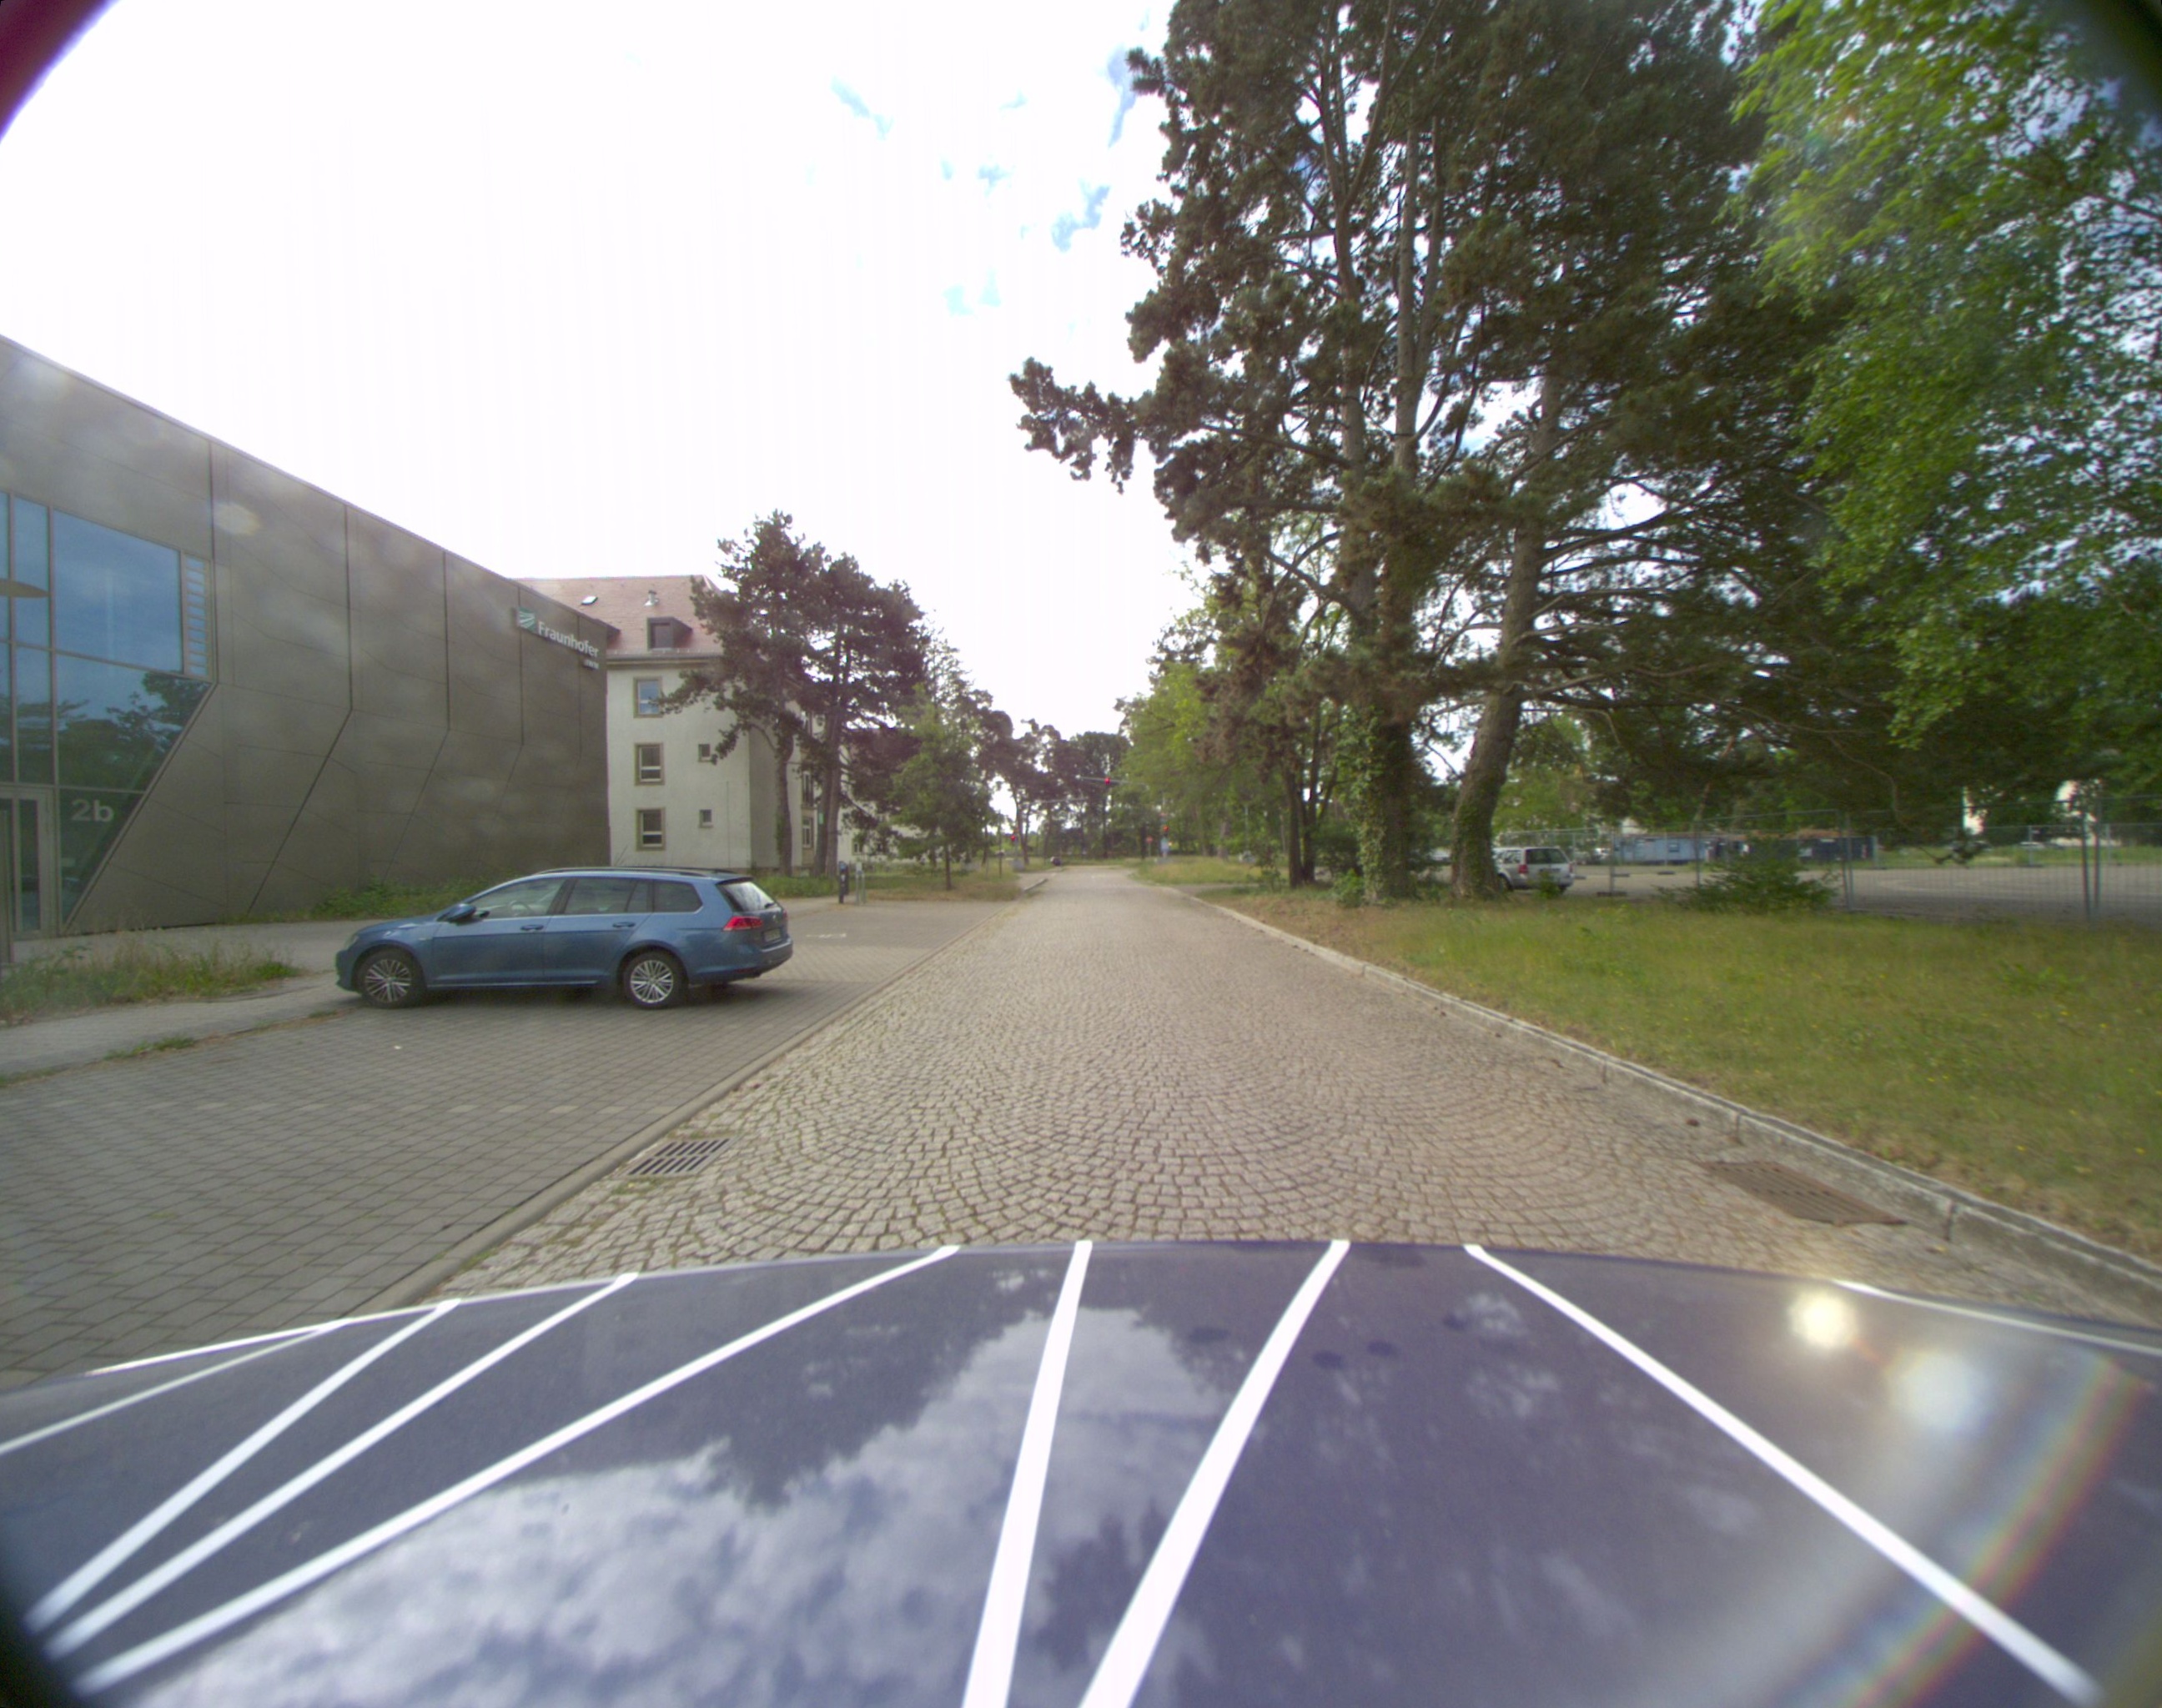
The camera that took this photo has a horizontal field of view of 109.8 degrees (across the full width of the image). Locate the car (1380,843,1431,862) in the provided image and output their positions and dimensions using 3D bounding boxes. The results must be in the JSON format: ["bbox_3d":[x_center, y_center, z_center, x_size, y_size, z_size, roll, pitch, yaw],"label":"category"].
[{"bbox_3d":[25.825,-0.106,60.691,1.999,1.441,4.451,-1,0,-3],"label":"car"}]

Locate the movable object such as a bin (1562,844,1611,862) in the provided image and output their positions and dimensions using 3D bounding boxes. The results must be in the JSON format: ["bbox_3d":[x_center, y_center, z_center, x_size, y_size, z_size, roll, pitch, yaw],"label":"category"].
[{"bbox_3d":[32.196,-0.082,48.461,1.057,1.065,2.719,-1,1,-8],"label":"movable object such as a bin"}]

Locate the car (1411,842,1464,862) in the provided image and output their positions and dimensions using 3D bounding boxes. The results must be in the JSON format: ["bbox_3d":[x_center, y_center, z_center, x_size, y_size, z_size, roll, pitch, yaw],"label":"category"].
[{"bbox_3d":[28.408,-0.177,60.768,1.999,1.441,4.451,-1,0,-3],"label":"car"}]

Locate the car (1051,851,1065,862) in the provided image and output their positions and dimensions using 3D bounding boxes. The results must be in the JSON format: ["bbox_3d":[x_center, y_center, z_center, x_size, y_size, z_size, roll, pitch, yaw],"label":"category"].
[{"bbox_3d":[-3.844,0.350,124.144,1.999,1.777,3.998,-1,1,-5],"label":"car"}]

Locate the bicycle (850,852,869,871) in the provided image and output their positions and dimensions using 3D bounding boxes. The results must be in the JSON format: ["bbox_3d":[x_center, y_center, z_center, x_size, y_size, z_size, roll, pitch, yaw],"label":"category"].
[{"bbox_3d":[-19.900,0.654,68.433,0.905,1.722,2.199,-1,1,3],"label":"bicycle"}]

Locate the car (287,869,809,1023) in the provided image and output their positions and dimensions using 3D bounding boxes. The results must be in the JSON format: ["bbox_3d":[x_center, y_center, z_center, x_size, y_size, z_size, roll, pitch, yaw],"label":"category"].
[{"bbox_3d":[-5.723,0.961,8.655,4.537,1.441,1.931,1,0,-2],"label":"car"}]

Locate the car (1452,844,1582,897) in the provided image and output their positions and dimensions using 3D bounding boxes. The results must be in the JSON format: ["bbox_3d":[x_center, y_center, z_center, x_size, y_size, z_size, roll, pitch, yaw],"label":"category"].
[{"bbox_3d":[12.880,0.439,22.721,1.670,1.402,3.723,-1,0,-2],"label":"car"}]

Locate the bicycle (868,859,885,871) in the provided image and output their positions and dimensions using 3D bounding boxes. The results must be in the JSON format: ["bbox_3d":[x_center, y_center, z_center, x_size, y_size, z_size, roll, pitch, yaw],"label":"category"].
[{"bbox_3d":[-18.286,0.956,68.082,0.799,1.051,2.166,-1,1,3],"label":"bicycle"}]

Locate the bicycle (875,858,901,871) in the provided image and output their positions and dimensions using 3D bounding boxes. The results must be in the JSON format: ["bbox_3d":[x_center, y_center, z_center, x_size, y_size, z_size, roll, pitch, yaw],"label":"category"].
[{"bbox_3d":[-17.003,0.942,66.997,2.164,1.051,0.717,-1,1,-3],"label":"bicycle"}]

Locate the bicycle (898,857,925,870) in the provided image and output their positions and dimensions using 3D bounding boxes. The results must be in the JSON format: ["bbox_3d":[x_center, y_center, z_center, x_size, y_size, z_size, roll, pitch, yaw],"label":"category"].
[{"bbox_3d":[-14.922,0.869,66.922,2.164,1.089,0.717,-1,1,-3],"label":"bicycle"}]

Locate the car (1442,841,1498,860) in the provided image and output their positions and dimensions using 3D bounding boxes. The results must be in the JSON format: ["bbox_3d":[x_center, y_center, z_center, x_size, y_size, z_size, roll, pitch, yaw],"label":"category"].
[{"bbox_3d":[31.294,-0.263,61.272,1.999,1.441,4.451,-1,0,-3],"label":"car"}]

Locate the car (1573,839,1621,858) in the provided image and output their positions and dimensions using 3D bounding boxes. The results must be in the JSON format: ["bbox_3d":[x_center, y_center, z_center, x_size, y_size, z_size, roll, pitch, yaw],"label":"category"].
[{"bbox_3d":[48.505,-0.531,71.487,1.749,1.674,3.803,-1,0,-4],"label":"car"}]

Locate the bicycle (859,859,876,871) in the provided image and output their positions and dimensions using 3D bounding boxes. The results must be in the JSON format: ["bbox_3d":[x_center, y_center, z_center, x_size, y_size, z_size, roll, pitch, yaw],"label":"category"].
[{"bbox_3d":[-19.135,0.976,68.098,0.799,1.051,2.199,-1,1,3],"label":"bicycle"}]
